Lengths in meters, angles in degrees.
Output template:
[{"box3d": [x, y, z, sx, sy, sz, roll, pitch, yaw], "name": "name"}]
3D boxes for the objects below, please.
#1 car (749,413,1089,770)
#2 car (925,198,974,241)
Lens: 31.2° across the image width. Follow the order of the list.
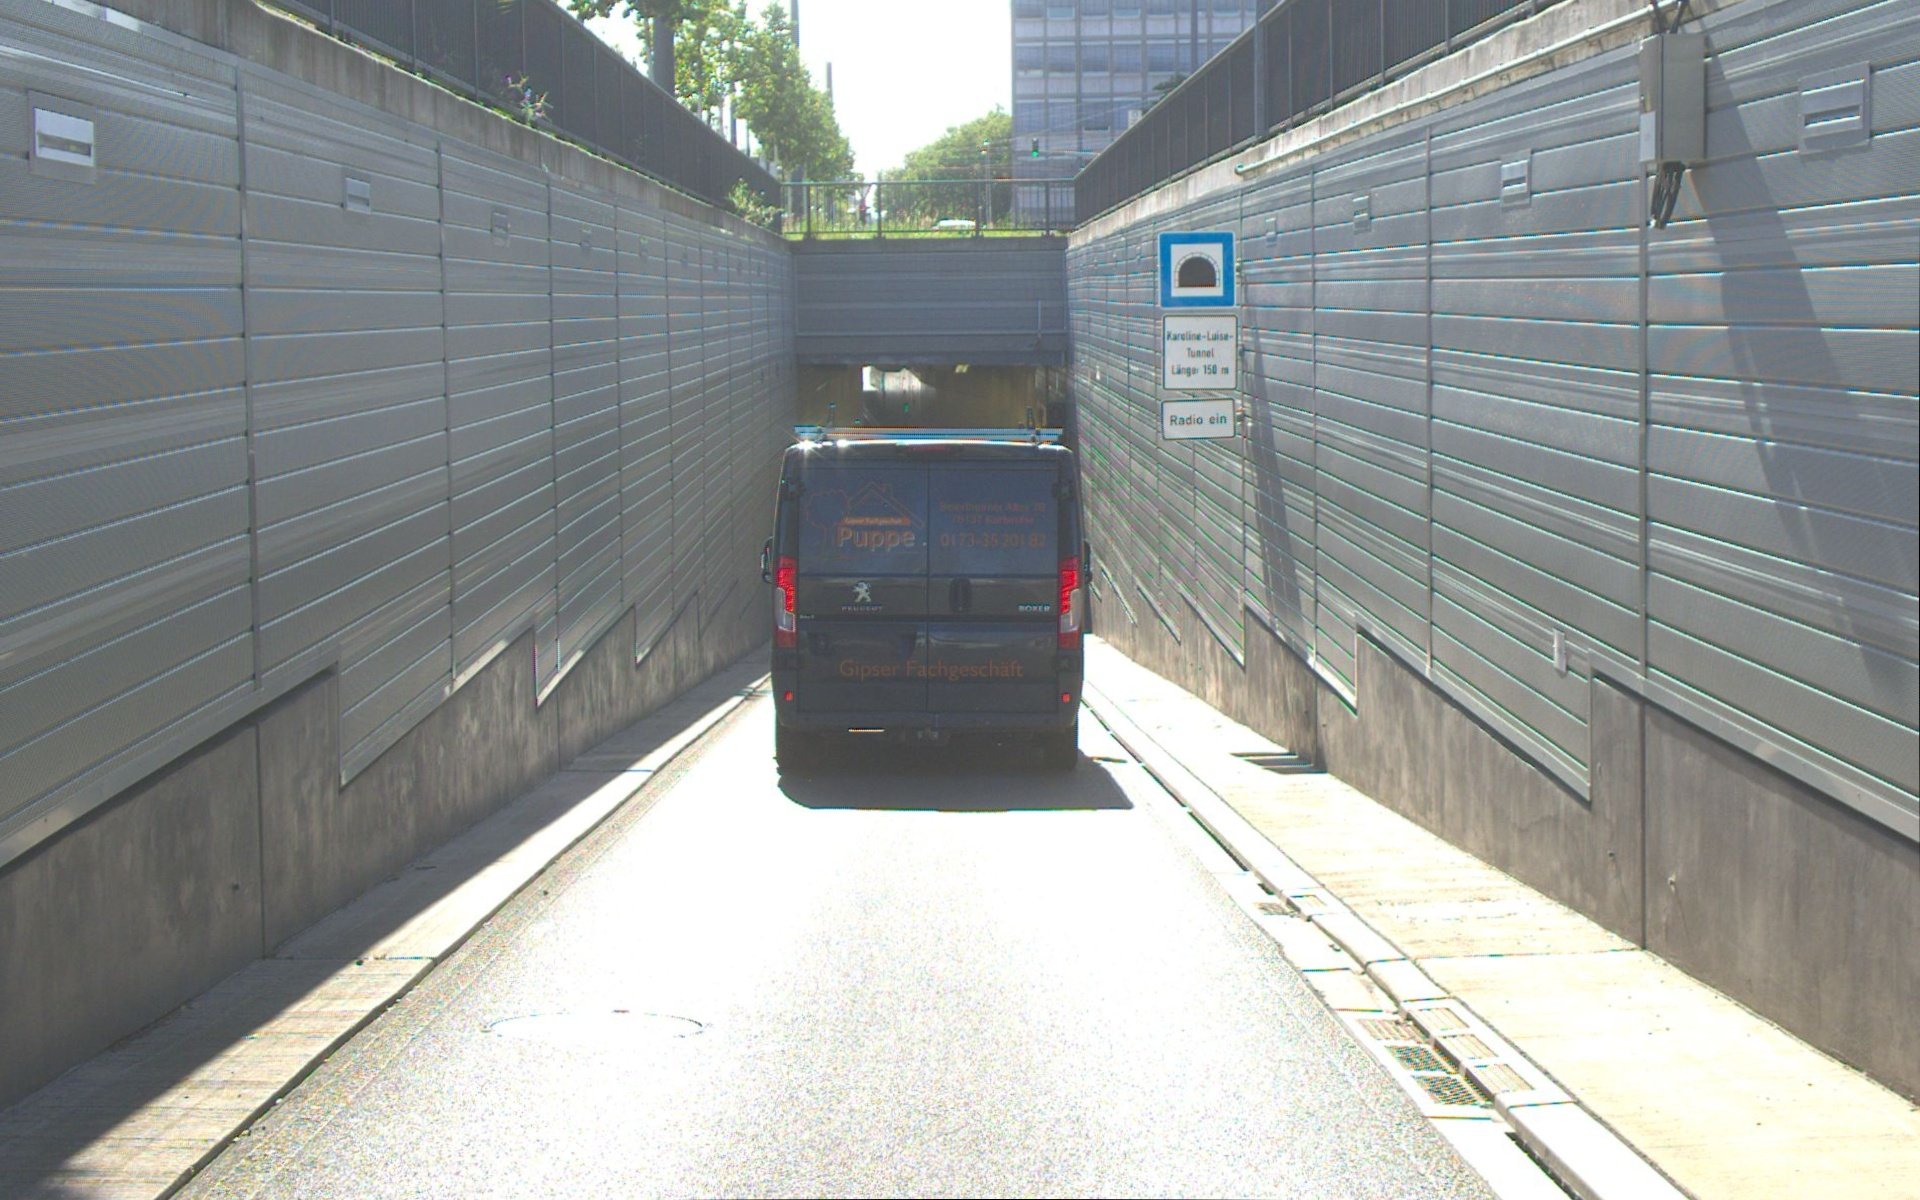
[{"box3d": [-0.257, -0.106, 24.159, 2.158, 2.258, 4.637, 0, 1, 0], "name": "car"}, {"box3d": [-0.424, -14.632, 132.251, 1.740, 1.556, 4.002, -1, 5, -2], "name": "car"}]
